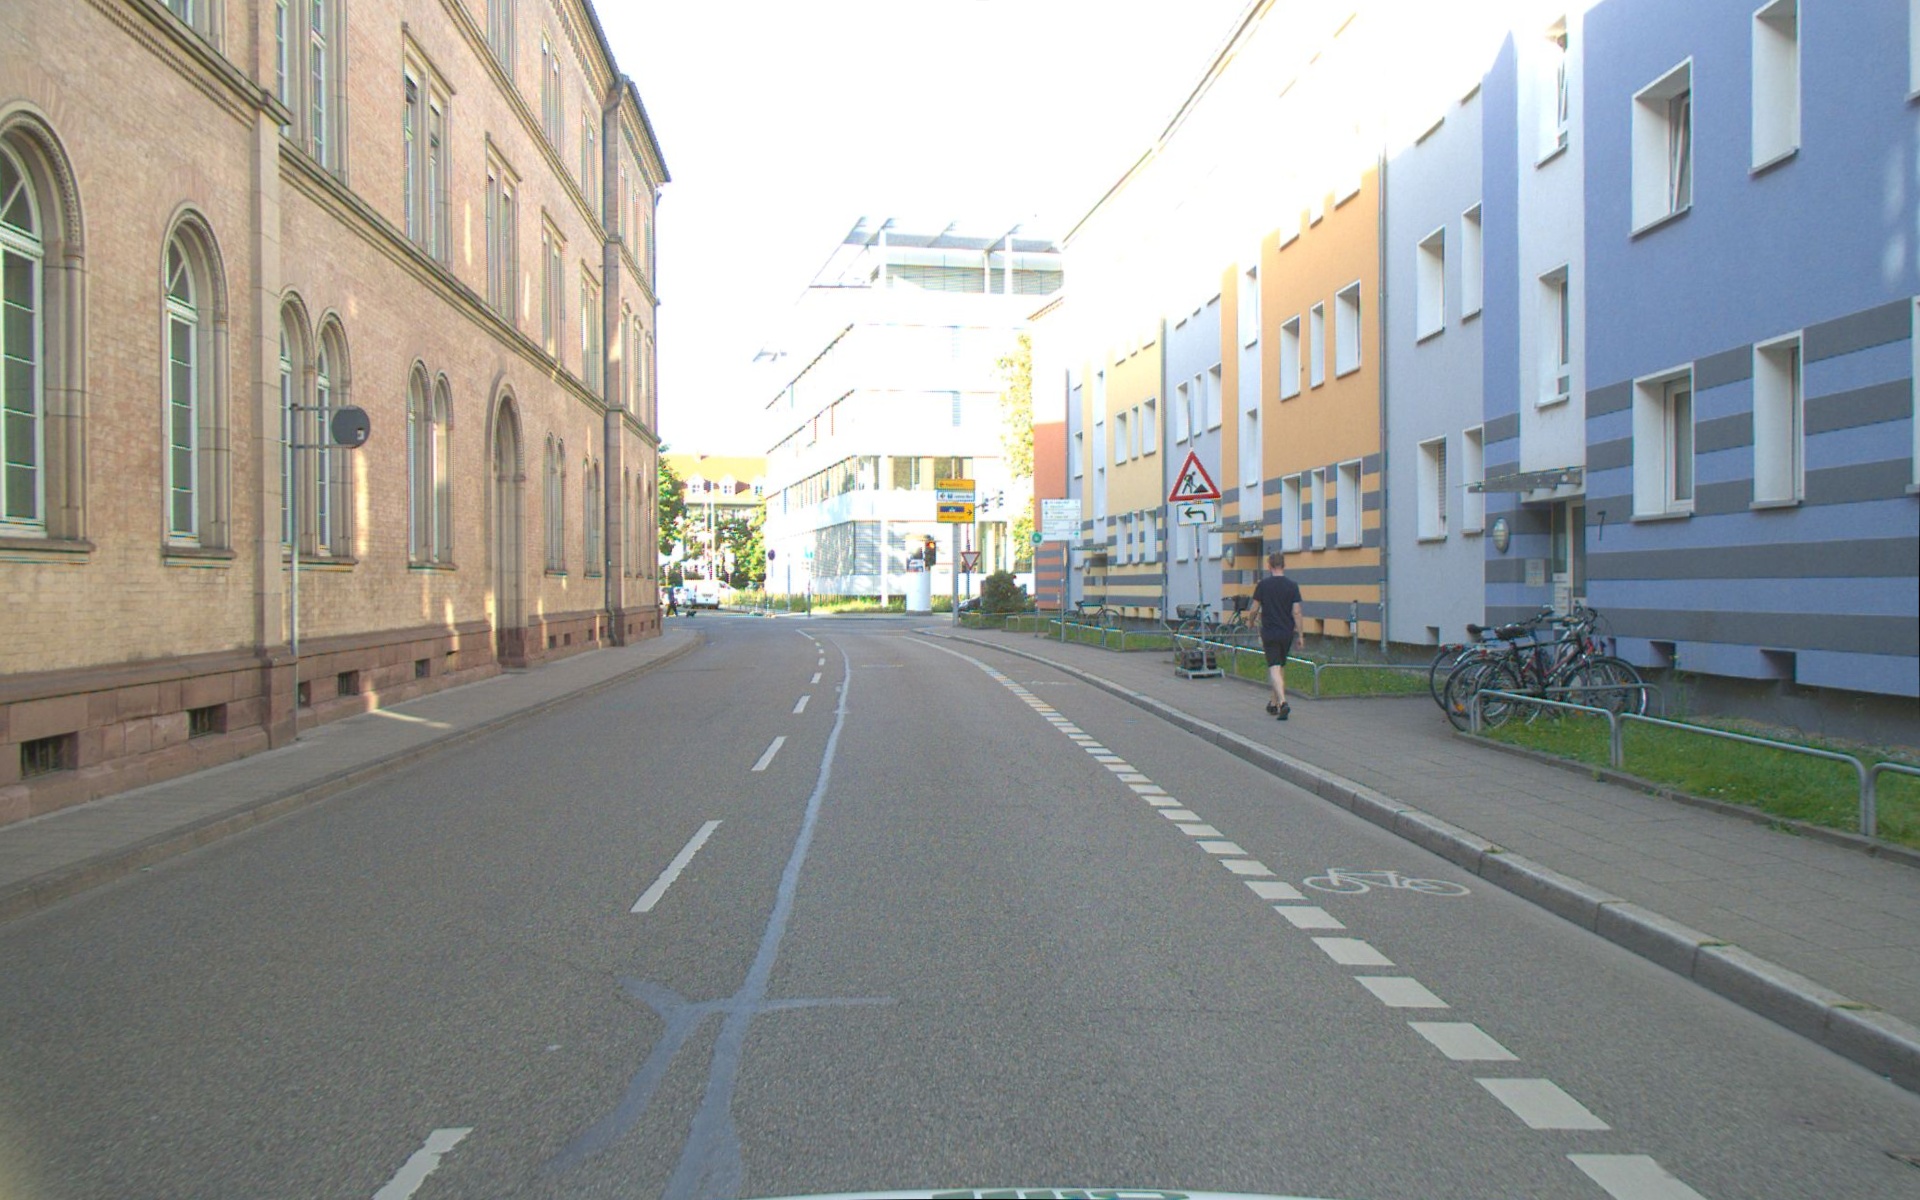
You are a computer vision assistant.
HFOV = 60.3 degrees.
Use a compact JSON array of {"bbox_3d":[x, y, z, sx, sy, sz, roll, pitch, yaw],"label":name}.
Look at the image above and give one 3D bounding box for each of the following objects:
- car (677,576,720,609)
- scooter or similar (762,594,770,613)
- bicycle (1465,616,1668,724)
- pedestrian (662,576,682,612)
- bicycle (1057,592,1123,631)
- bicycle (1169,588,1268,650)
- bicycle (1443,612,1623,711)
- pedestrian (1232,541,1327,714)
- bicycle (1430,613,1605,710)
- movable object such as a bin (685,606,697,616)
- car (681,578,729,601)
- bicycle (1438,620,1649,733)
[{"bbox_3d":[-17.947,-0.494,113.393,2.384,2.149,5.211,2,0,-14],"label":"car"},{"bbox_3d":[-11.069,0.206,94.357,0.319,1.078,1.138,0,0,-14],"label":"scooter or similar"},{"bbox_3d":[5.743,0.652,15.702,1.713,0.963,0.551,-1,0,-3],"label":"bicycle"},{"bbox_3d":[-14.847,-0.305,85.310,0.911,1.790,0.844,2,-1,-16],"label":"pedestrian"},{"bbox_3d":[3.615,0.327,45.905,1.720,1.021,0.612,-2,0,-8],"label":"bicycle"},{"bbox_3d":[4.947,0.354,31.696,1.775,1.157,0.551,-1,0,-4],"label":"bicycle"},{"bbox_3d":[5.842,0.621,16.883,1.713,0.963,0.325,-1,0,-2],"label":"bicycle"},{"bbox_3d":[3.465,0.287,18.032,0.683,1.790,1.188,-3,0,-2],"label":"pedestrian"},{"bbox_3d":[5.820,0.638,17.275,1.713,0.963,0.335,-1,0,-3],"label":"bicycle"},{"bbox_3d":[-13.900,0.584,85.594,0.580,0.489,0.285,-1,0,-19],"label":"movable object such as a bin"},{"bbox_3d":[-23.263,-0.955,150.780,3.937,1.949,1.904,2,-1,-26],"label":"car"},{"bbox_3d":[5.298,0.683,15.057,1.713,0.963,0.551,-1,0,-3],"label":"bicycle"}]
